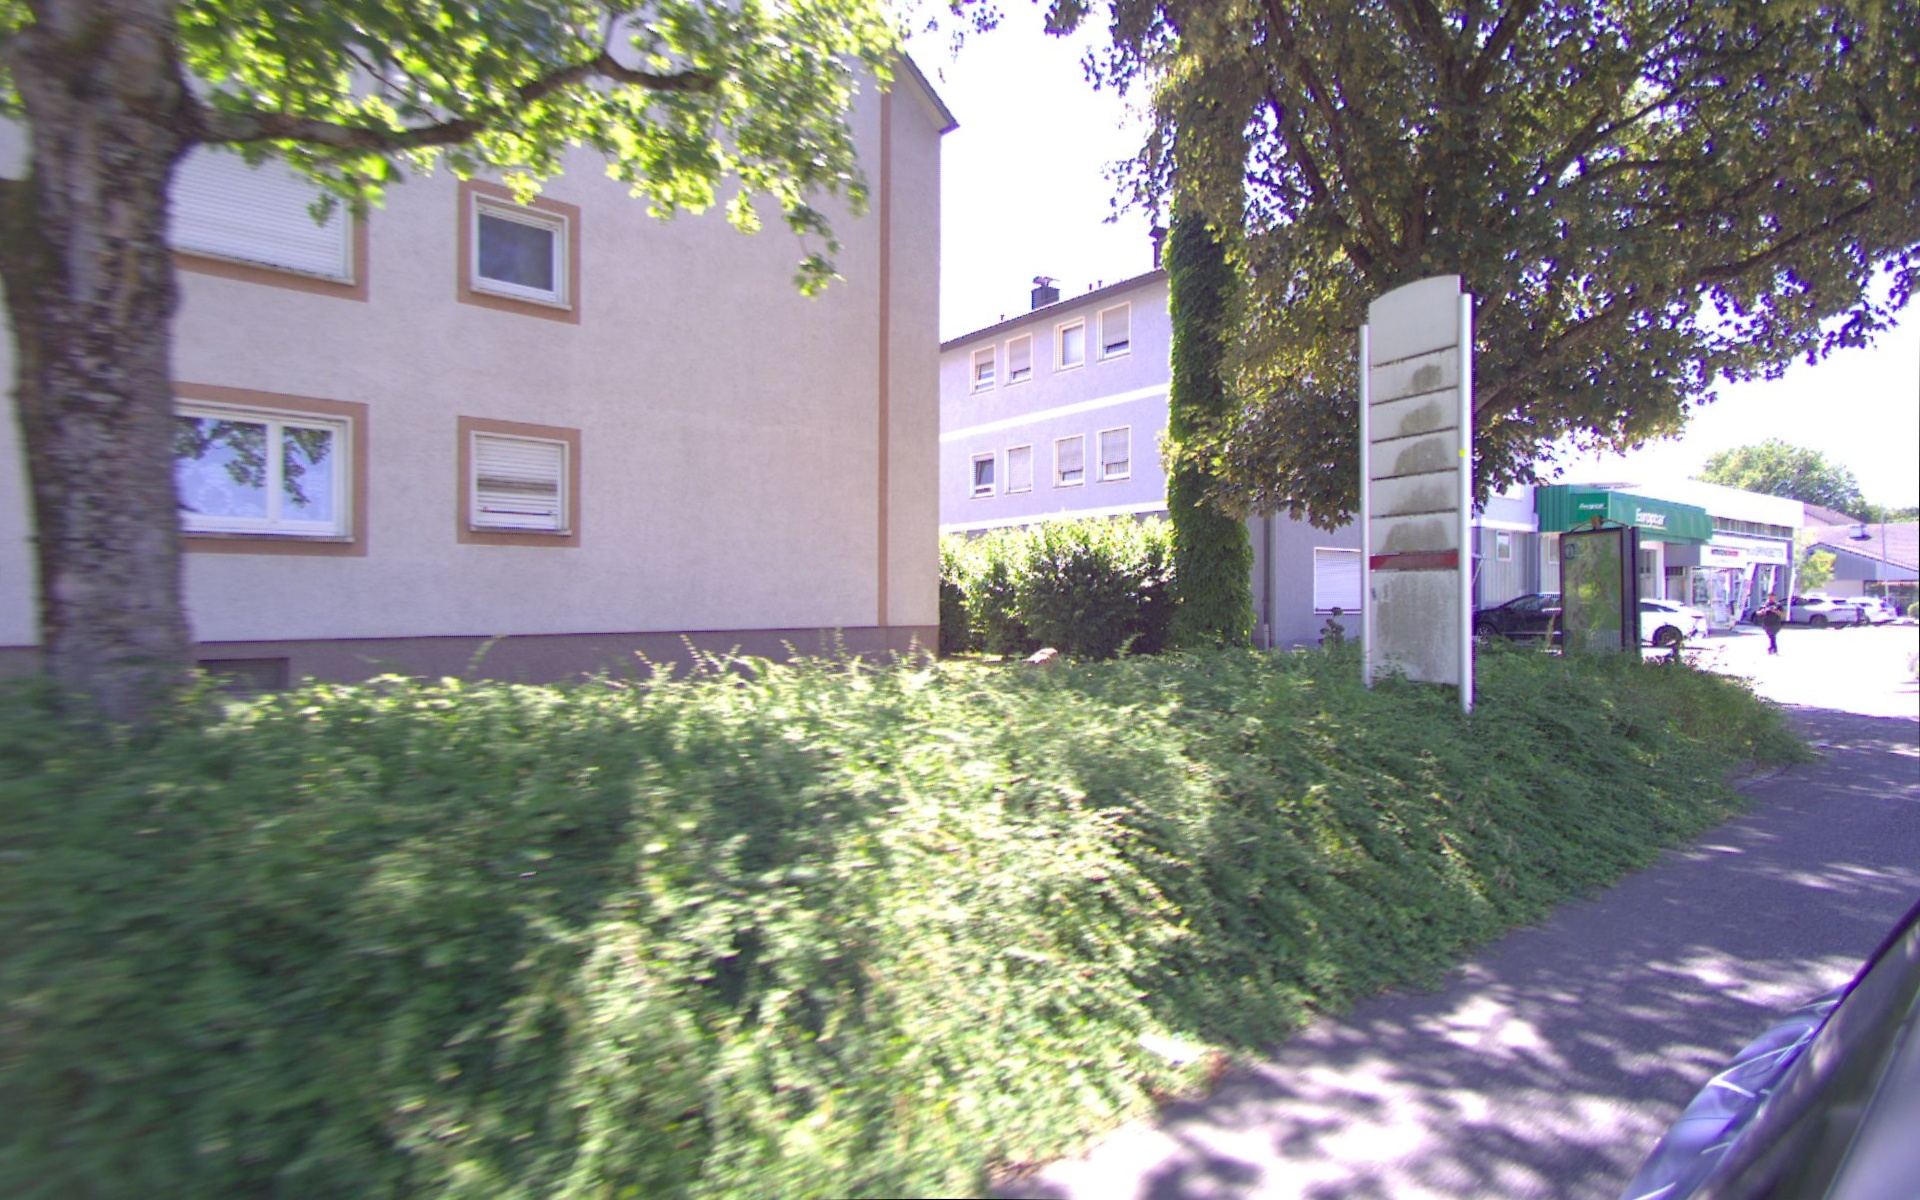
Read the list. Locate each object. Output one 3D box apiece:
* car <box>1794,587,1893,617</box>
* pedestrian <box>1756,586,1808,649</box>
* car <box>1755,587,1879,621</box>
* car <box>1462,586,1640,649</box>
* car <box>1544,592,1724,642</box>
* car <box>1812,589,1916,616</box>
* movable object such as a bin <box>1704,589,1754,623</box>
[{"bbox_3d":[49.382,0.094,56.641,1.643,1.552,3.875,0,1,-21],"label":"car"},{"bbox_3d":[22.141,0.457,27.262,0.991,1.662,0.843,0,1,-35],"label":"pedestrian"},{"bbox_3d":[45.007,0.173,53.259,1.958,1.662,4.606,0,1,-20],"label":"car"},{"bbox_3d":[16.721,0.437,28.784,1.766,1.569,3.996,-1,2,-40],"label":"car"},{"bbox_3d":[20.198,0.476,30.594,4.317,1.388,1.937,0,1,28],"label":"car"},{"bbox_3d":[51.145,0.106,57.351,1.768,1.479,4.008,0,1,-24],"label":"car"},{"bbox_3d":[34.647,0.265,45.615,0.688,1.440,1.570,1,3,-32],"label":"movable object such as a bin"}]
